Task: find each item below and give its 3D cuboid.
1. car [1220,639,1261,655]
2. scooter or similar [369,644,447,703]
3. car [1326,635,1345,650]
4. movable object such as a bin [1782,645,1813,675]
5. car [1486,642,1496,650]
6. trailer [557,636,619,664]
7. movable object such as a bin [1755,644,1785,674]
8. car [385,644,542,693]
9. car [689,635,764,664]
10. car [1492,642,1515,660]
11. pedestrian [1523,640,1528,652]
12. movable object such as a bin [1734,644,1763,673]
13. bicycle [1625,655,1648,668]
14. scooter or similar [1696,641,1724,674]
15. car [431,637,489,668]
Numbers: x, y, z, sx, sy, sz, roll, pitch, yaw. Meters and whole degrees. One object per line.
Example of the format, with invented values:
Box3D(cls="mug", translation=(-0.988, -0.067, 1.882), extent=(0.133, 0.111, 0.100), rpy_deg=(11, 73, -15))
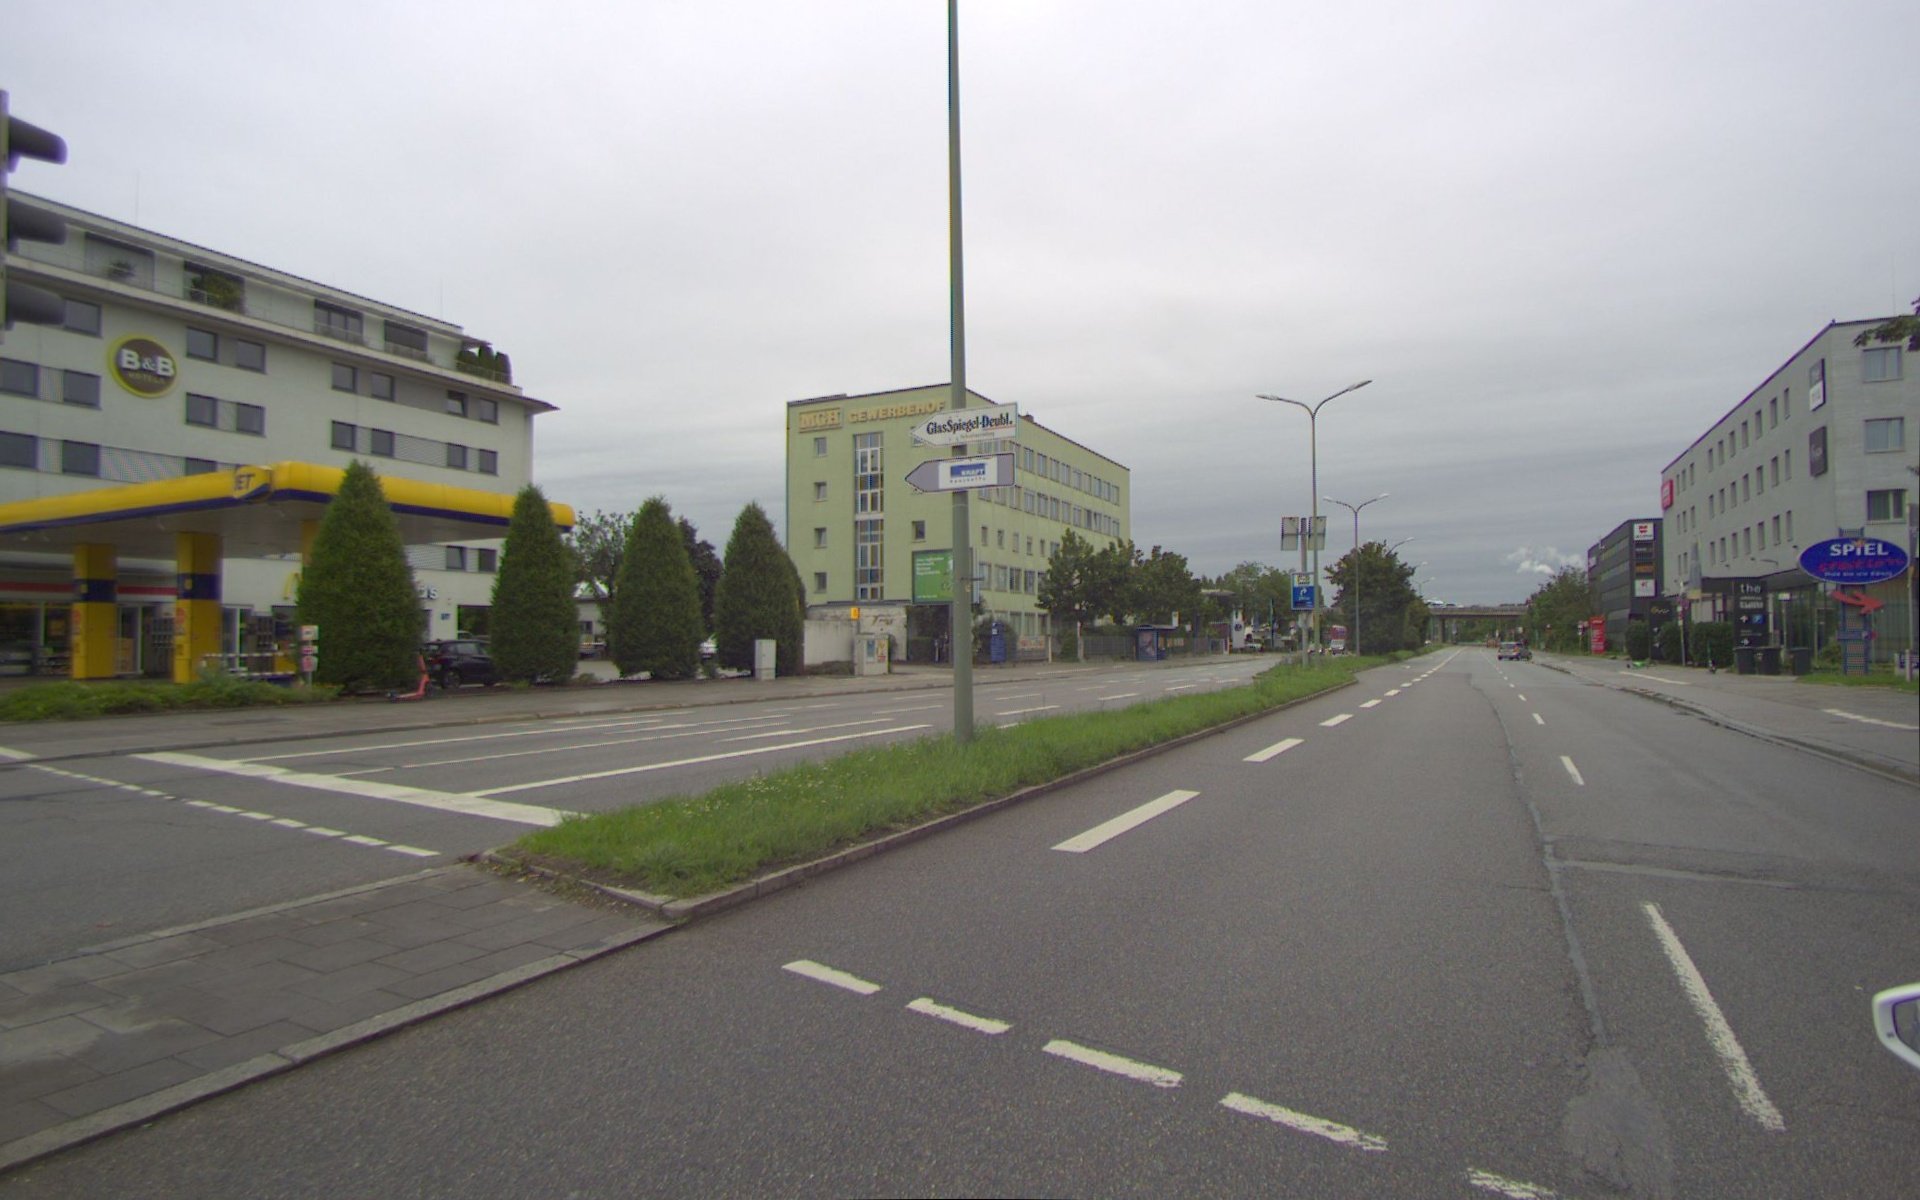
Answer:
Box3D(cls="car", translation=(34.946, 5.805, 125.228), extent=(4.553, 1.866, 1.802), rpy_deg=(-2, -3, 4))
Box3D(cls="scooter or similar", translation=(-12.489, 1.649, 22.769), extent=(0.351, 1.259, 1.542), rpy_deg=(1, -1, 32))
Box3D(cls="car", translation=(49.800, 5.635, 133.121), extent=(1.963, 1.986, 4.321), rpy_deg=(-3, -3, 26))
Box3D(cls="movable object such as a bin", translation=(31.380, 2.239, 37.654), extent=(0.726, 1.092, 0.654), rpy_deg=(-3, -3, 28))
Box3D(cls="car", translation=(107.063, 9.329, 202.595), extent=(1.709, 1.568, 4.300), rpy_deg=(0, -2, 27))
Box3D(cls="trailer", translation=(-23.642, 3.151, 63.820), extent=(3.739, 1.671, 1.634), rpy_deg=(-3, -3, 26))
Box3D(cls="movable object such as a bin", translation=(30.502, 2.226, 37.847), extent=(0.726, 1.092, 0.654), rpy_deg=(-3, -3, 28))
Box3D(cls="car", translation=(-14.773, 2.026, 30.111), extent=(1.767, 1.349, 3.997), rpy_deg=(-3, -3, 26))
Box3D(cls="car", translation=(-12.552, 2.662, 54.180), extent=(1.797, 1.457, 3.996), rpy_deg=(-3, -3, 27))
Box3D(cls="car", translation=(49.596, 4.610, 91.641), extent=(1.787, 1.578, 4.021), rpy_deg=(0, -2, 28))
Box3D(cls="pedestrian", translation=(91.801, 7.415, 163.080), extent=(0.678, 1.900, 0.661), rpy_deg=(-3, -3, 27))
Box3D(cls="movable object such as a bin", translation=(30.360, 2.237, 38.702), extent=(0.726, 1.092, 0.654), rpy_deg=(-3, -3, 28))
Box3D(cls="bicycle", translation=(34.520, 3.137, 51.269), extent=(0.709, 0.555, 1.730), rpy_deg=(-5, -4, 27))
Box3D(cls="scooter or similar", translation=(30.587, 2.334, 40.993), extent=(0.577, 1.293, 1.402), rpy_deg=(-6, -5, 27))
Box3D(cls="car", translation=(-34.033, 3.567, 68.351), extent=(3.929, 1.968, 1.719), rpy_deg=(-3, -3, 30))
